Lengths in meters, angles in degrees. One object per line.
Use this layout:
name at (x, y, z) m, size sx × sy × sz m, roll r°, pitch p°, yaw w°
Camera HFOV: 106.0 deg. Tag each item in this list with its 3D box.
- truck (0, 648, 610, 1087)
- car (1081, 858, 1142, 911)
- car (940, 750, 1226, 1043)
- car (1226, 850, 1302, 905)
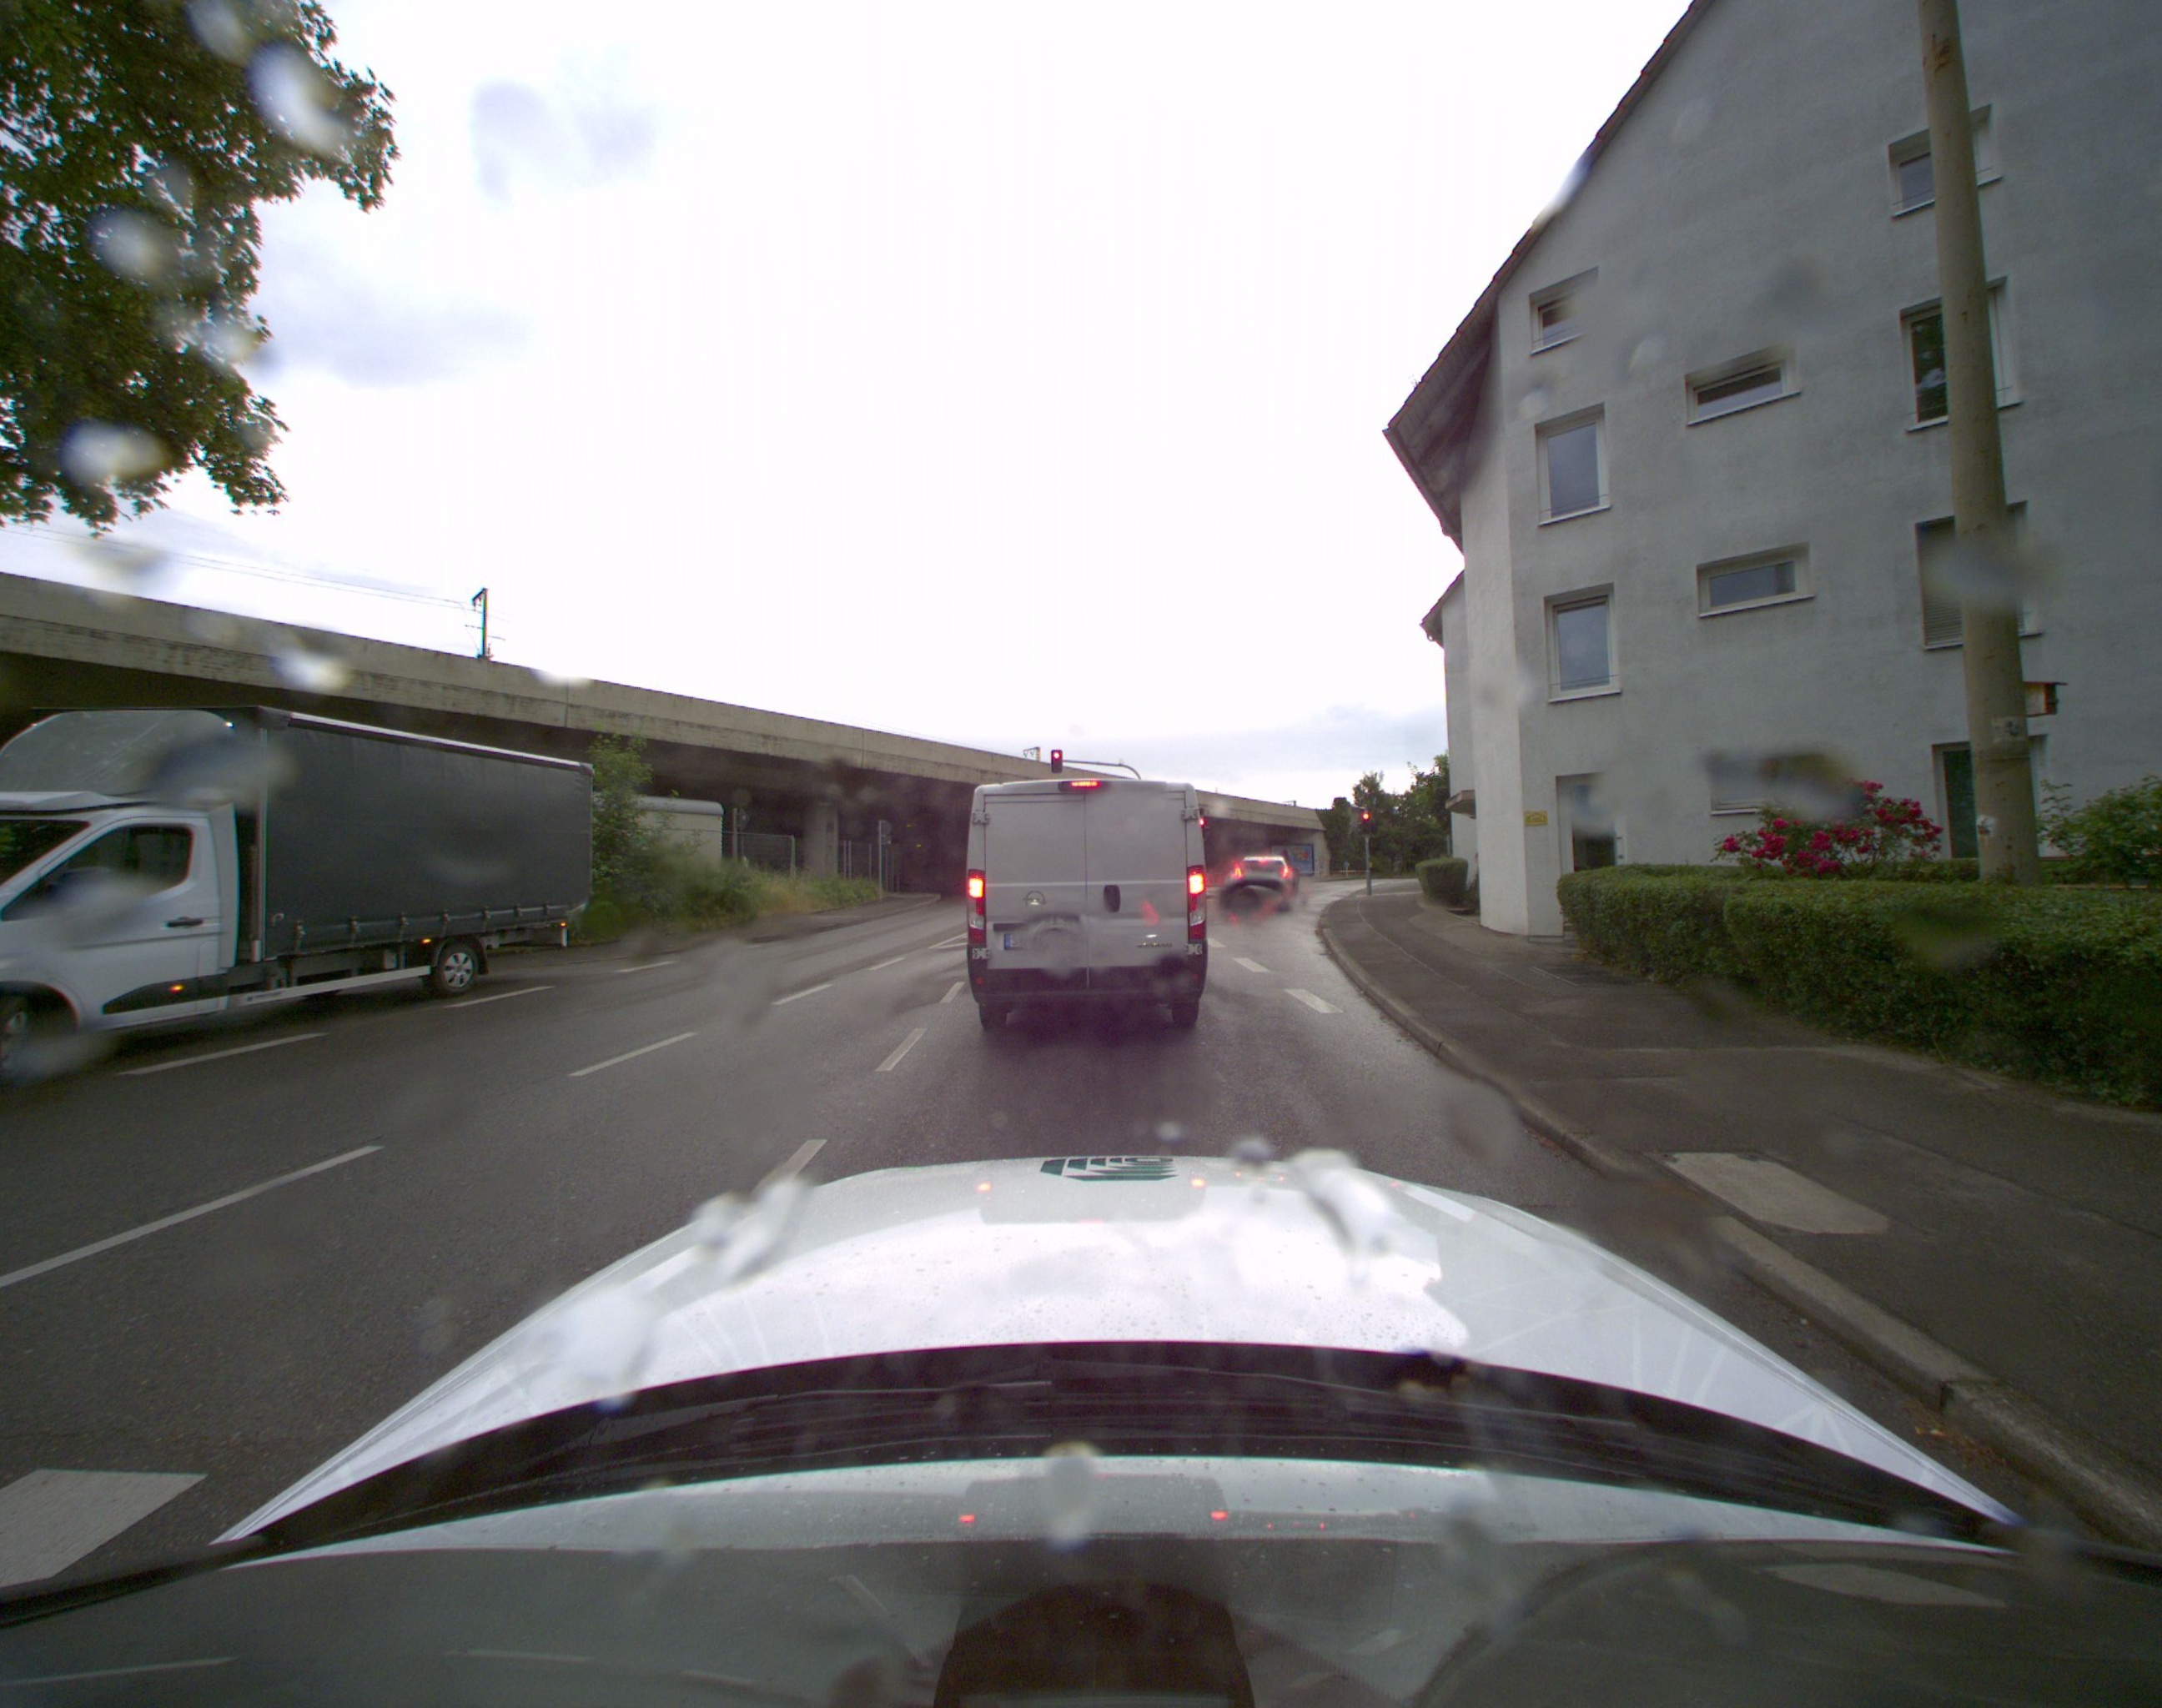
truck at (-9.072, 0.177, 9.190) m, size 2.599 × 3.237 × 7.782 m, roll -1°, pitch -1°, yaw 3°
car at (1.159, 1.071, 29.034) m, size 1.984 × 1.729 × 4.004 m, roll -1°, pitch -2°, yaw 5°
car at (0.047, 0.363, 9.304) m, size 2.297 × 2.343 × 5.282 m, roll -1°, pitch 0°, yaw 1°
car at (5.753, 0.714, 25.234) m, size 1.978 × 1.549 × 4.017 m, roll -1°, pitch -1°, yaw 17°
